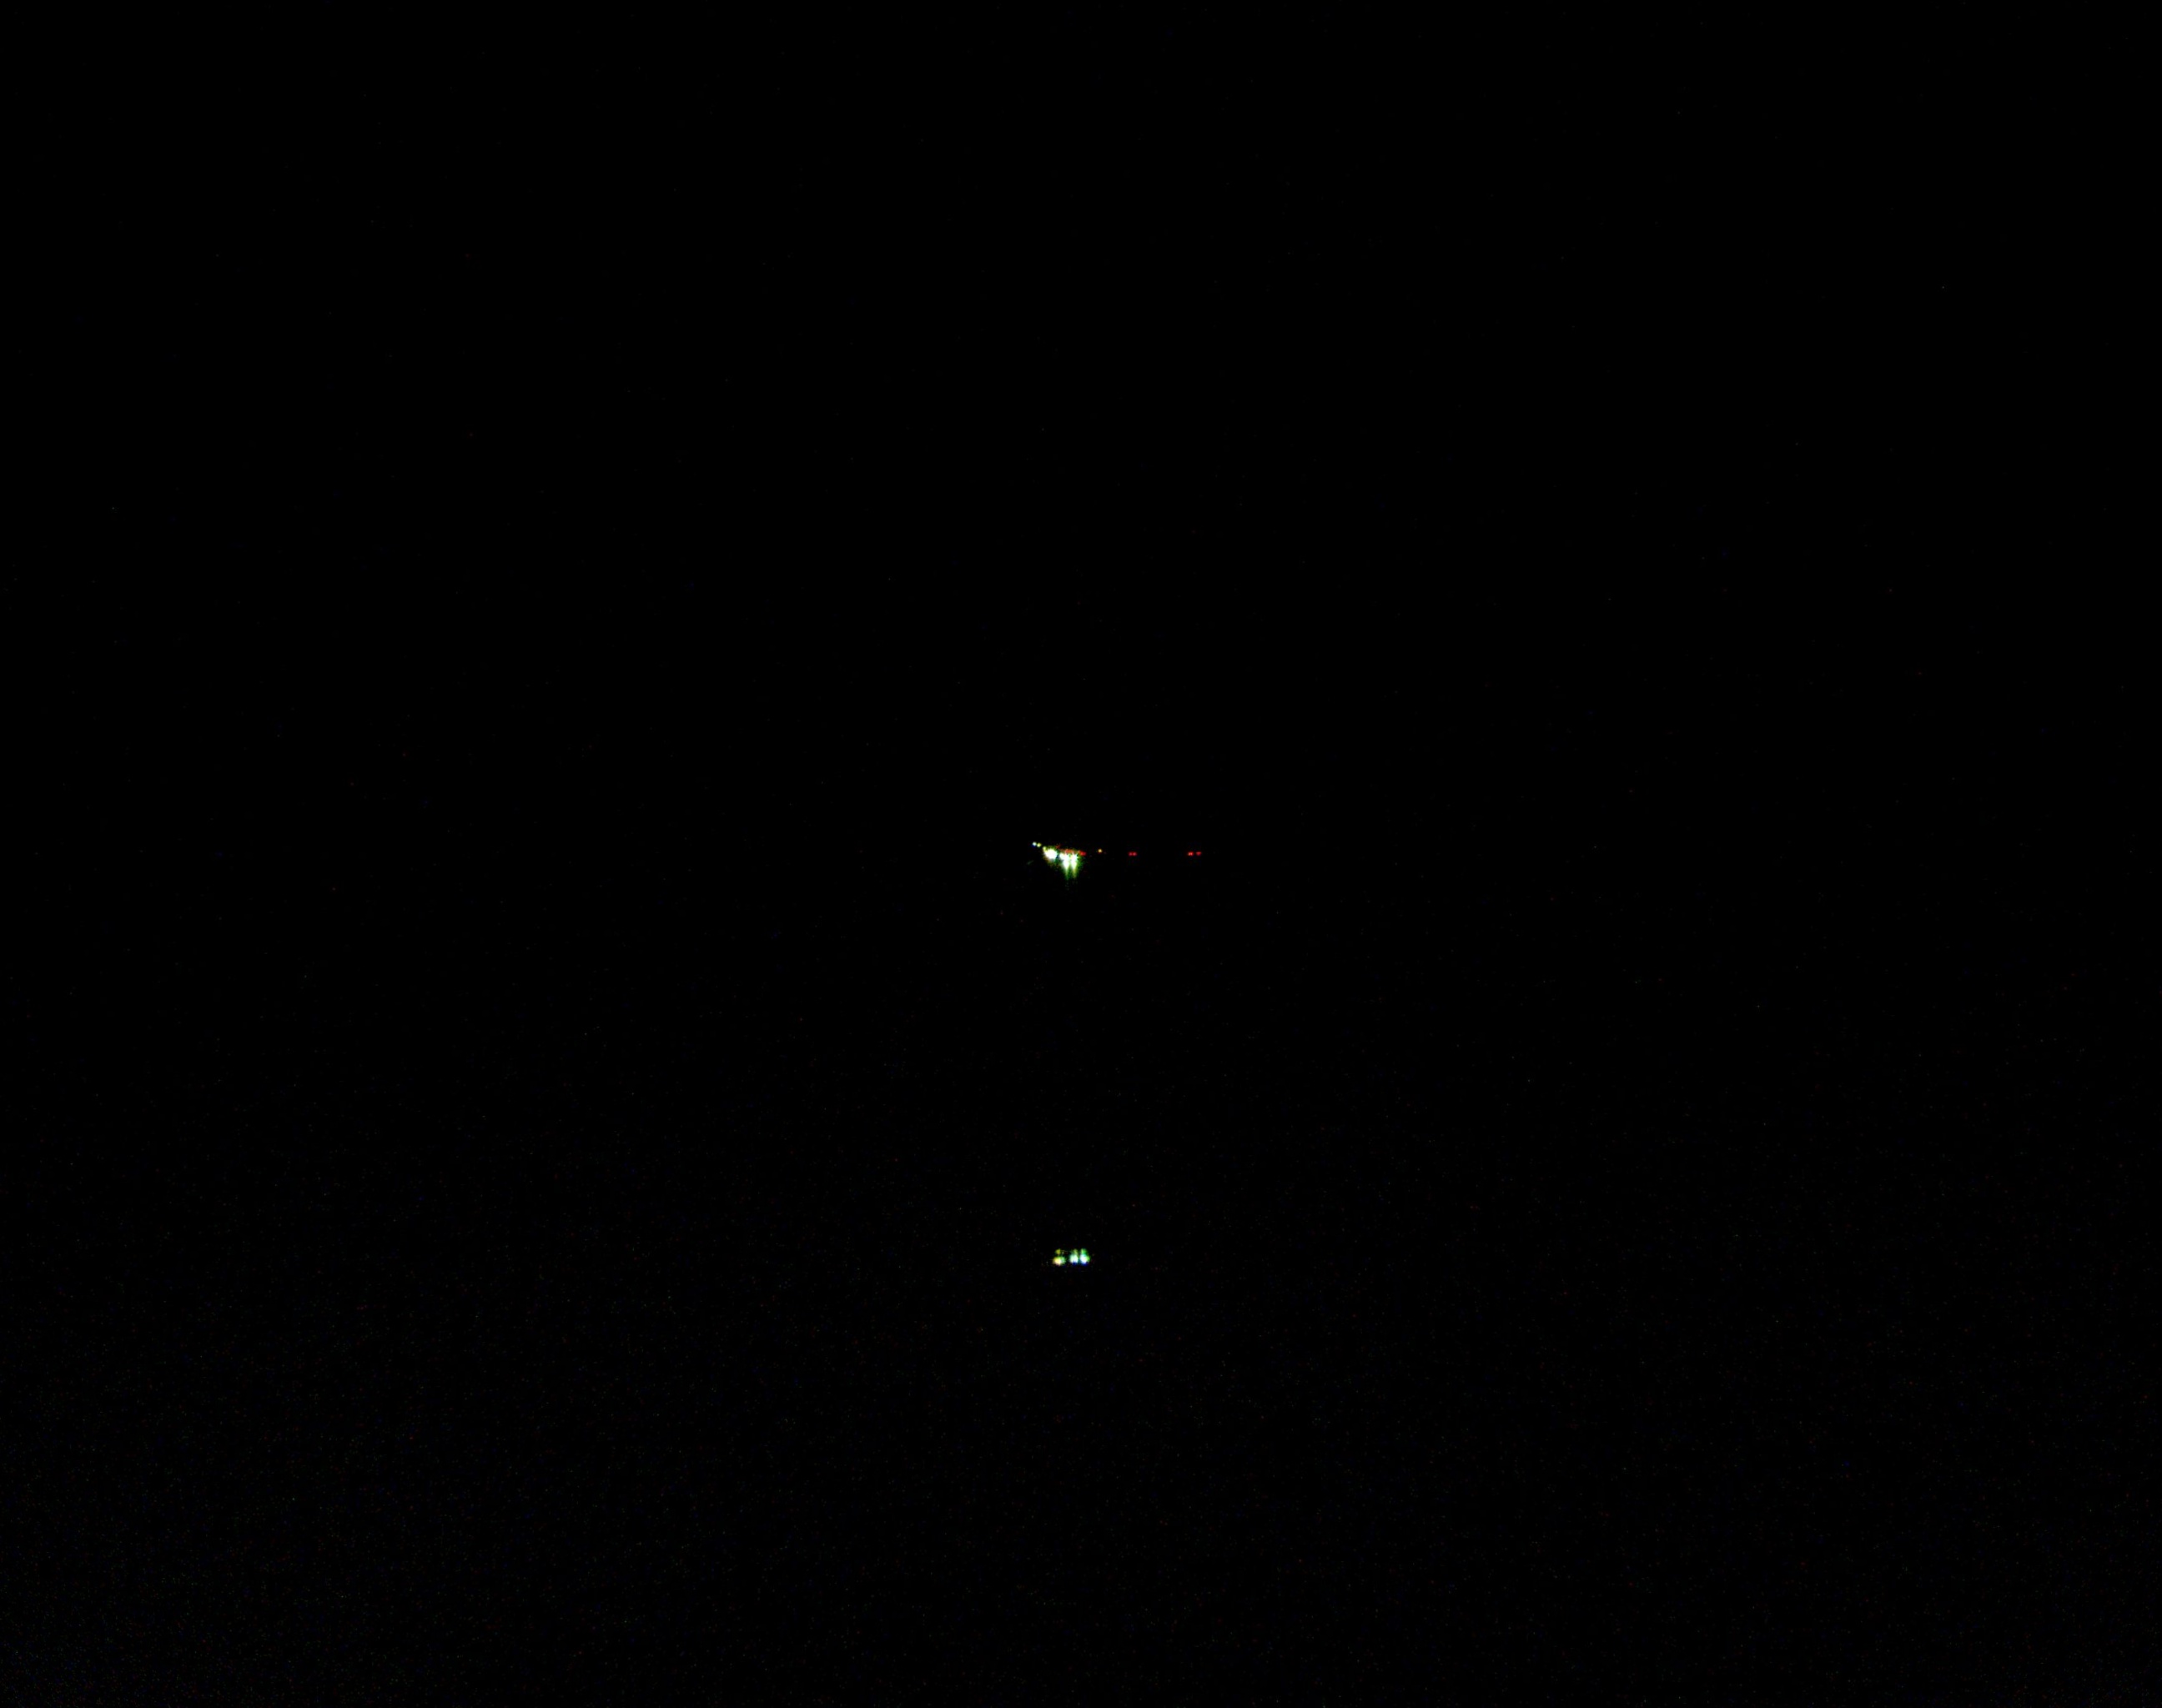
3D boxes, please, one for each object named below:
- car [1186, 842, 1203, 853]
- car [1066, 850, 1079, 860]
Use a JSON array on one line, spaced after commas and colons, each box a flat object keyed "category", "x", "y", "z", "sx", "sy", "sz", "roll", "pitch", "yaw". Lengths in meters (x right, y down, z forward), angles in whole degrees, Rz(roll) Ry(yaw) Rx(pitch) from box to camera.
[{"category": "car", "x": 21.178, "y": -1.274, "z": 142.110, "sx": 2.032, "sy": 2.002, "sz": 5.184, "roll": -2, "pitch": 1, "yaw": -4}, {"category": "car", "x": -1.541, "y": 0.128, "z": 135.008, "sx": 2.154, "sy": 1.558, "sz": 4.580, "roll": -2, "pitch": 1, "yaw": -1}]
